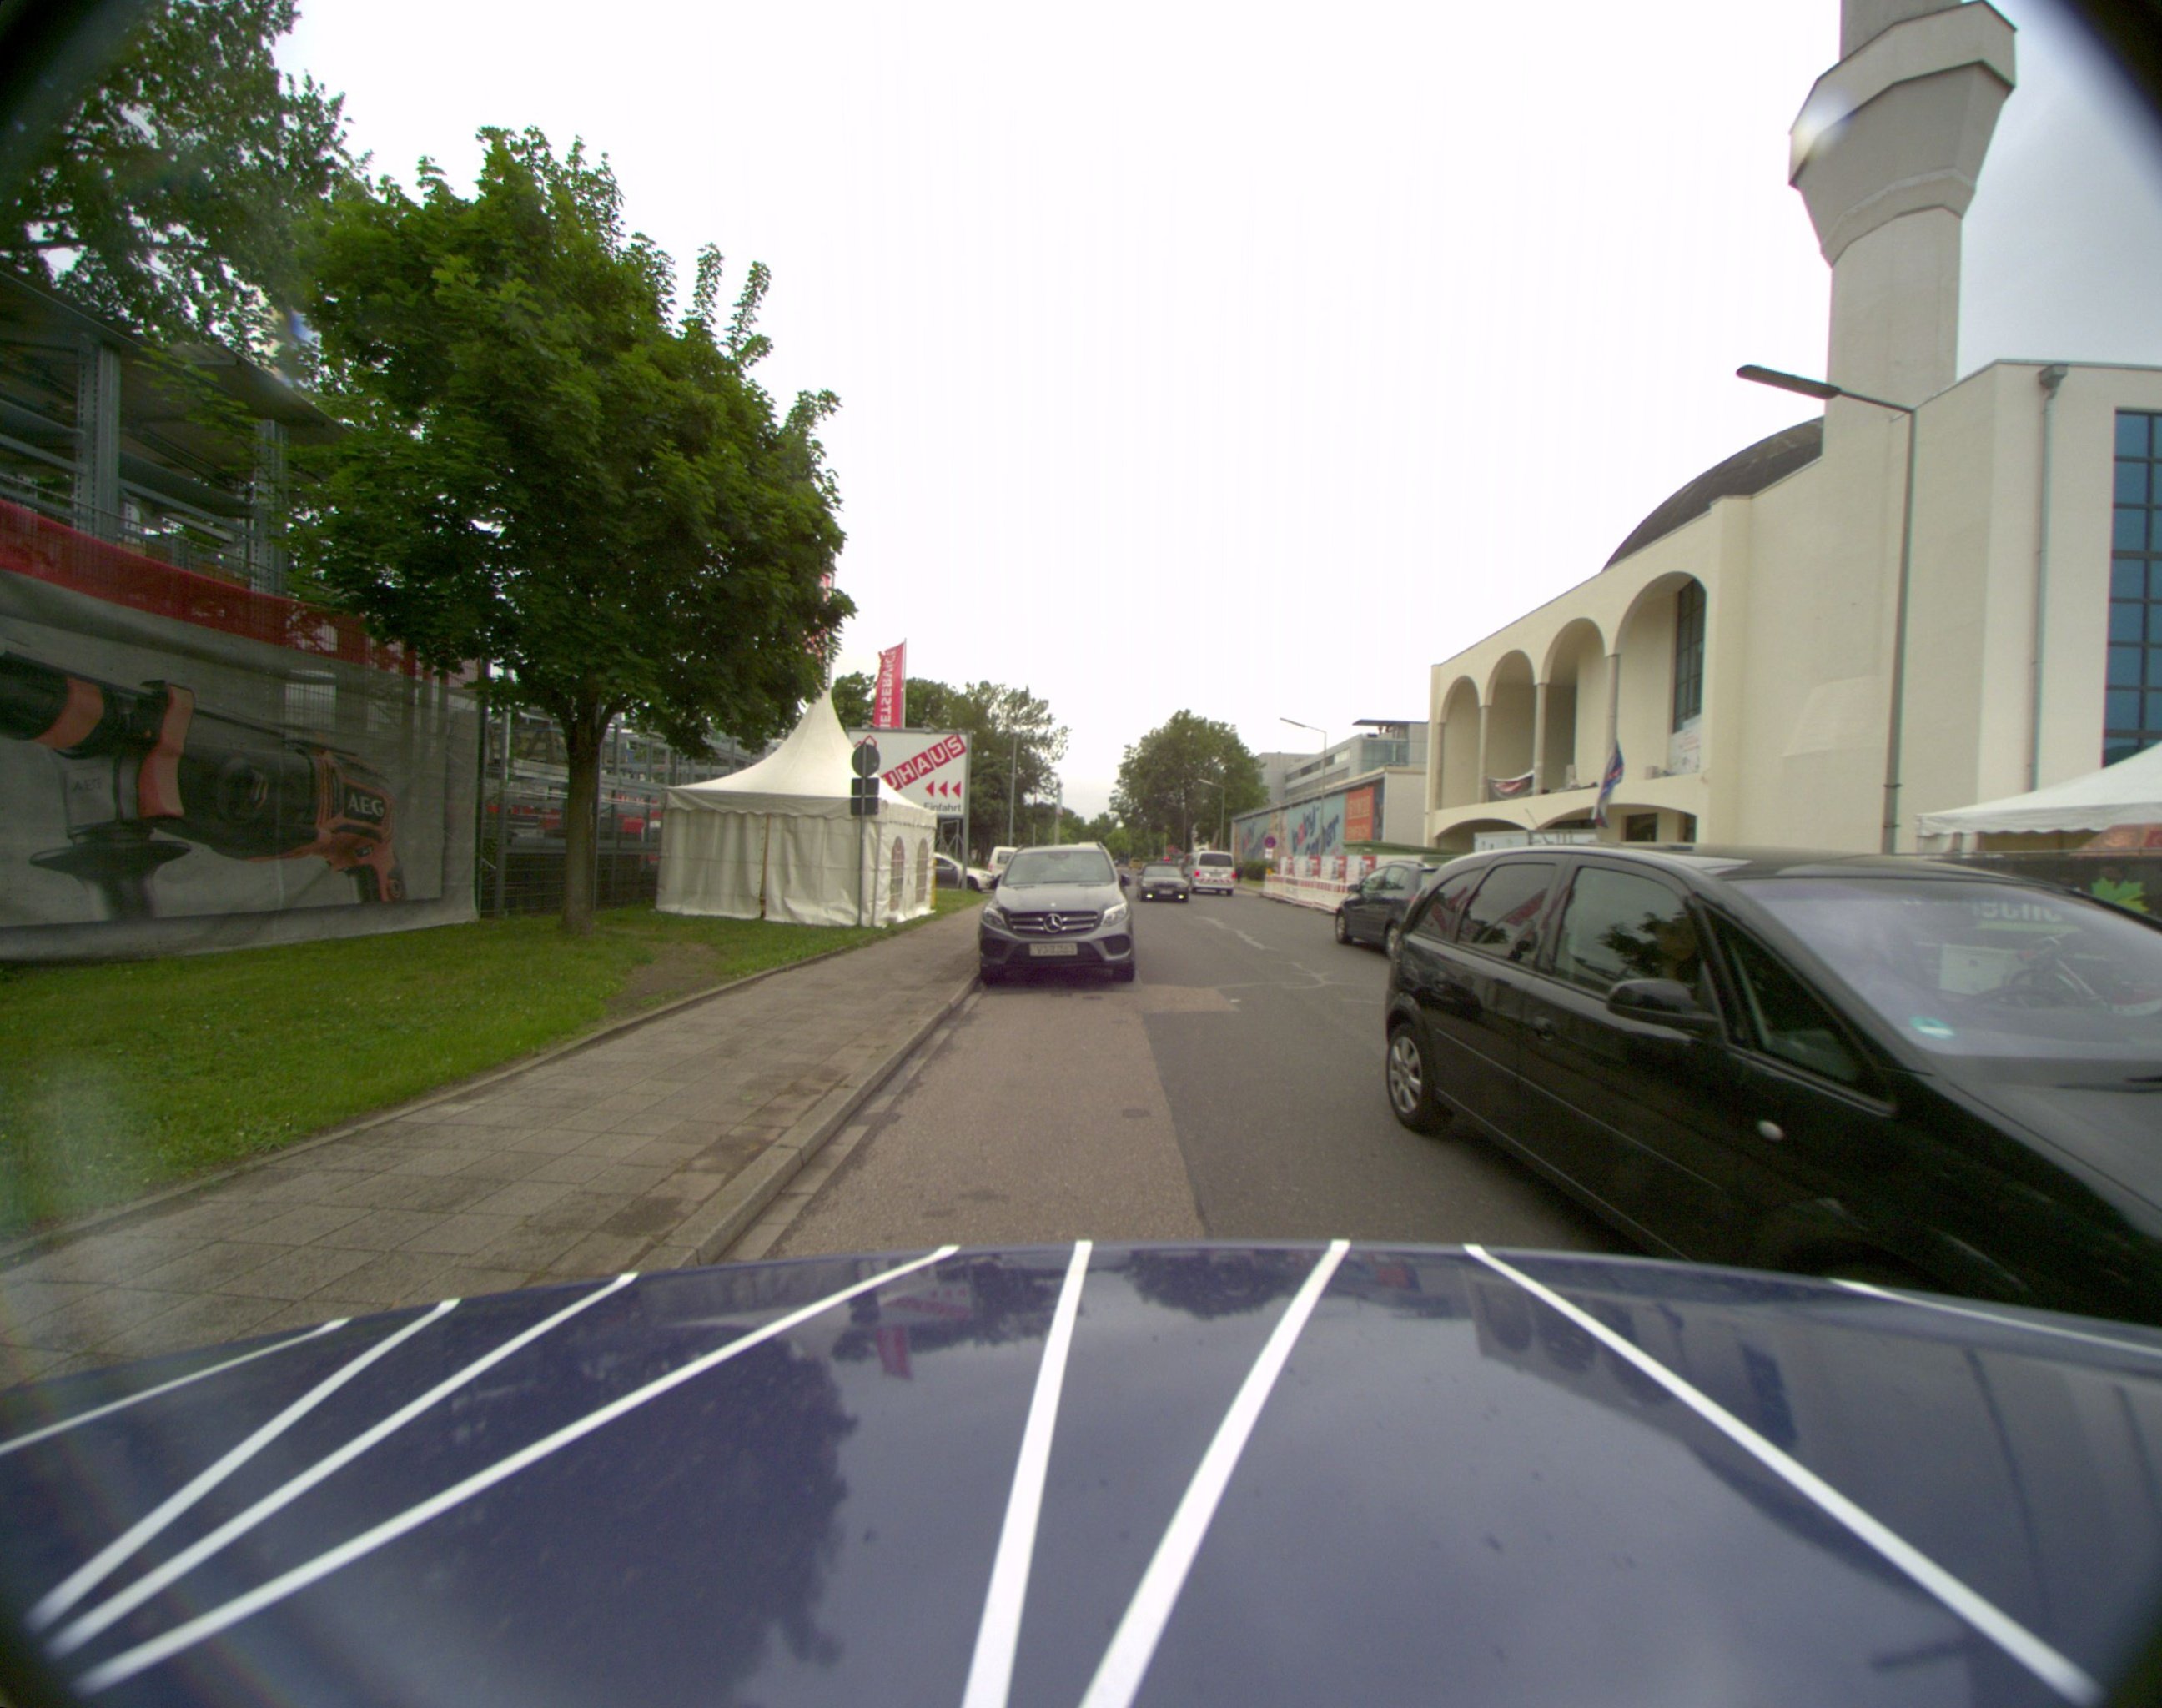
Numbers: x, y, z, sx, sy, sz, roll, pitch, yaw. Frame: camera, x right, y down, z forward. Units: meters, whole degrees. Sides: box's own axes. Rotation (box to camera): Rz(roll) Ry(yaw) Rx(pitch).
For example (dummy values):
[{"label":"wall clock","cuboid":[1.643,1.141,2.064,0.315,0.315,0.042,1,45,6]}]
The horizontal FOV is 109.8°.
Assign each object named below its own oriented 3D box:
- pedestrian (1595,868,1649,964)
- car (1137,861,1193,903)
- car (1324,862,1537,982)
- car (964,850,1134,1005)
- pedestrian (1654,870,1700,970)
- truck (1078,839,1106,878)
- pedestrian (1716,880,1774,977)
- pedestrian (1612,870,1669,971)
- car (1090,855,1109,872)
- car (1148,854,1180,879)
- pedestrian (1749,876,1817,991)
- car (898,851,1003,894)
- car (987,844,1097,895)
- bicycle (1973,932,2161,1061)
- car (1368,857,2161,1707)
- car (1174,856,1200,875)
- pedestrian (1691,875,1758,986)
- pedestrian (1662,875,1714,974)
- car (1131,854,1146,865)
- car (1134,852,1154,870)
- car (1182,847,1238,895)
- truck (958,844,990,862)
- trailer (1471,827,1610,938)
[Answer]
[{"label":"pedestrian","cuboid":[10.298,1.154,14.461,0.492,1.739,0.689,1,1,-43]},{"label":"car","cuboid":[3.046,0.977,28.339,1.749,1.351,4.137,0,1,2]},{"label":"car","cuboid":[5.493,0.964,12.556,1.733,1.562,3.947,2,0,2]},{"label":"car","cuboid":[-0.288,0.835,10.880,1.913,1.731,4.480,-1,0,2]},{"label":"pedestrian","cuboid":[10.769,1.166,13.732,0.492,1.739,0.527,1,1,-43]},{"label":"truck","cuboid":[0.773,0.308,53.504,1.853,2.597,4.000,-1,0,1]},{"label":"pedestrian","cuboid":[11.273,1.250,12.914,0.540,1.602,0.491,0,1,7]},{"label":"pedestrian","cuboid":[10.022,1.164,13.609,0.492,1.739,0.689,1,1,-43]},{"label":"car","cuboid":[2.092,0.999,83.749,1.998,1.739,4.000,2,0,2]},{"label":"car","cuboid":[6.308,0.914,58.241,1.964,1.652,4.654,4,0,1]},{"label":"pedestrian","cuboid":[10.886,1.198,11.782,0.689,1.707,0.694,0,-2,-45]},{"label":"car","cuboid":[-4.945,0.691,29.062,3.687,1.575,1.776,0,0,0]},{"label":"car","cuboid":[-1.580,0.639,31.968,4.380,1.797,1.800,4,1,0]},{"label":"bicycle","cuboid":[11.022,1.498,8.266,0.545,1.071,1.902,2,1,8]},{"label":"car","cuboid":[2.585,0.864,2.638,1.685,1.622,3.758,2,0,0]},{"label":"car","cuboid":[9.970,1.045,71.958,1.929,1.565,4.150,5,0,2]},{"label":"pedestrian","cuboid":[9.682,1.136,11.436,0.491,1.602,0.539,3,1,-27]},{"label":"pedestrian","cuboid":[10.287,1.175,12.872,0.492,1.602,0.570,1,1,-43]},{"label":"car","cuboid":[8.682,0.857,115.122,1.929,1.565,4.000,3,0,2]},{"label":"car","cuboid":[6.998,0.764,85.009,1.998,2.002,4.000,0,1,2]},{"label":"car","cuboid":[5.982,0.739,35.786,1.931,2.002,4.955,2,1,2]},{"label":"truck","cuboid":[-14.895,-0.138,106.010,1.994,2.383,4.009,2,1,41]},{"label":"trailer","cuboid":[11.937,0.687,19.992,1.802,2.591,3.192,2,0,4]}]
